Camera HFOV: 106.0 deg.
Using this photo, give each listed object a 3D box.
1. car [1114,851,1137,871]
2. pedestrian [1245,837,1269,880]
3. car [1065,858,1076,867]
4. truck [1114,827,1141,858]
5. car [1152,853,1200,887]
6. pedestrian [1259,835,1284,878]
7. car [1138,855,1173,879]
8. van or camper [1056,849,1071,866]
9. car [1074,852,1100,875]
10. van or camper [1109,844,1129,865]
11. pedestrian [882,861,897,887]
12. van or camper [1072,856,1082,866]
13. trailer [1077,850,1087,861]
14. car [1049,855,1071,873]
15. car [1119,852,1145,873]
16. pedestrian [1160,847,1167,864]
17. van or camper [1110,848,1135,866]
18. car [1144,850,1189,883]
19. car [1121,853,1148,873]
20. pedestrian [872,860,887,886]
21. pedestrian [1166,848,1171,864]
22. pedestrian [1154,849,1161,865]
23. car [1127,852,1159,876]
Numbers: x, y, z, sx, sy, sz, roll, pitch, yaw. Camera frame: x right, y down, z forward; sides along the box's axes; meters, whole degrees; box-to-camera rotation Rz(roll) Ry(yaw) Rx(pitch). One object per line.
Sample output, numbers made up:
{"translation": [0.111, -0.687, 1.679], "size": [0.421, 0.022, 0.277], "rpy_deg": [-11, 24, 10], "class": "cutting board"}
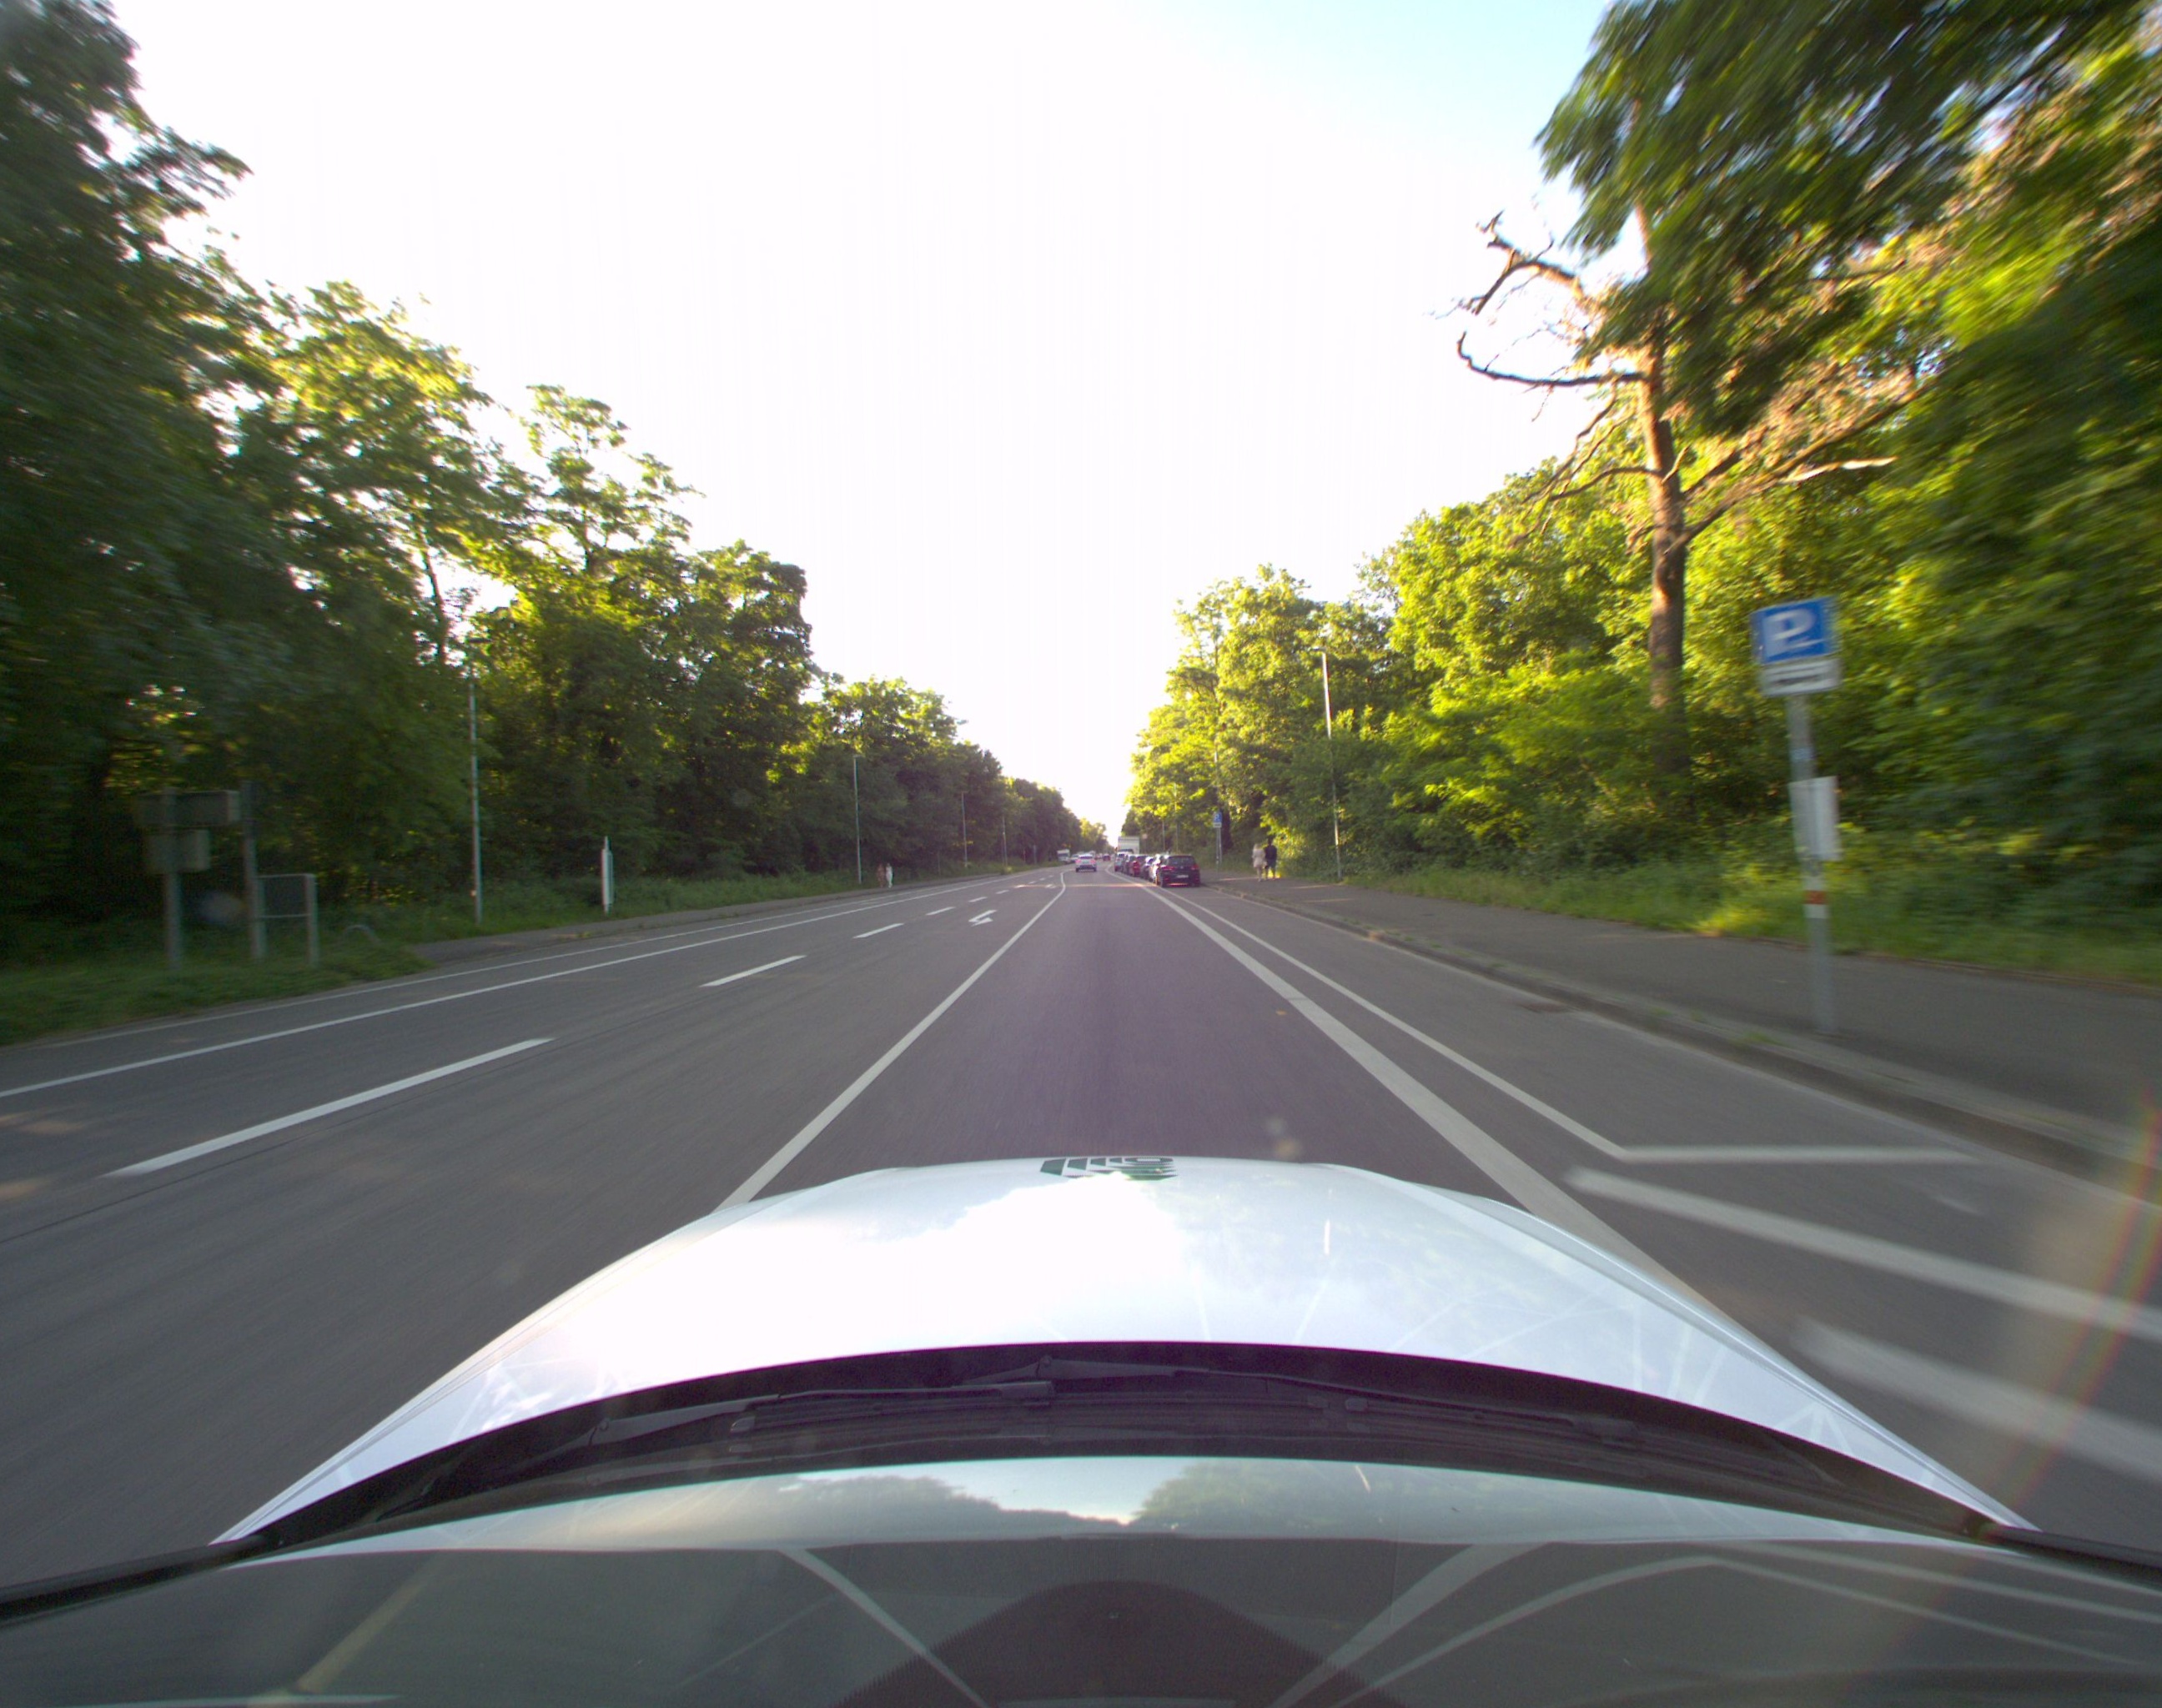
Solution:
{"translation": [3.781, 0.565, 69.145], "size": [1.791, 1.595, 4.032], "rpy_deg": [-3, 0, 3], "class": "car"}
{"translation": [7.625, 0.201, 35.342], "size": [0.673, 1.799, 0.789], "rpy_deg": [-5, 0, -3], "class": "pedestrian"}
{"translation": [-1.804, 1.433, 144.000], "size": [1.821, 1.476, 4.680], "rpy_deg": [-4, 0, 0], "class": "car"}
{"translation": [5.489, -1.325, 97.129], "size": [2.822, 3.497, 8.582], "rpy_deg": [-3, 0, 2], "class": "truck"}
{"translation": [4.350, 0.700, 37.740], "size": [1.652, 1.452, 4.018], "rpy_deg": [0, 0, -1], "class": "car"}
{"translation": [8.299, 0.120, 35.457], "size": [0.673, 1.799, 0.952], "rpy_deg": [-5, 0, -3], "class": "pedestrian"}
{"translation": [4.357, 0.727, 47.816], "size": [1.623, 1.319, 3.839], "rpy_deg": [-2, 0, -1], "class": "car"}
{"translation": [-3.190, 0.595, 150.866], "size": [2.307, 2.969, 7.111], "rpy_deg": [-5, 0, 0], "class": "van or camper"}
{"translation": [0.538, 0.793, 72.114], "size": [2.020, 1.840, 4.032], "rpy_deg": [-3, 0, 3], "class": "car"}
{"translation": [3.838, 0.044, 82.026], "size": [1.890, 2.013, 4.590], "rpy_deg": [-3, 0, 3], "class": "van or camper"}
{"translation": [-12.610, 1.312, 53.627], "size": [0.671, 1.653, 0.791], "rpy_deg": [-3, 0, 7], "class": "pedestrian"}
{"translation": [-0.958, 1.557, 184.647], "size": [1.828, 1.911, 4.858], "rpy_deg": [-4, 0, 2], "class": "van or camper"}
{"translation": [0.265, 0.453, 207.890], "size": [1.985, 2.597, 4.419], "rpy_deg": [-5, 0, 3], "class": "trailer"}
{"translation": [-1.873, 0.884, 73.509], "size": [1.801, 1.519, 4.504], "rpy_deg": [-1, 0, 0], "class": "car"}
{"translation": [3.997, 0.652, 64.153], "size": [1.801, 1.519, 4.504], "rpy_deg": [-1, 0, 0], "class": "car"}
{"translation": [8.577, 0.126, 84.554], "size": [0.615, 1.764, 0.907], "rpy_deg": [-3, 0, 2], "class": "pedestrian"}
{"translation": [6.891, 0.485, 134.973], "size": [2.422, 2.799, 6.585], "rpy_deg": [-3, 0, 16], "class": "van or camper"}
{"translation": [4.380, 0.617, 42.285], "size": [1.732, 1.524, 4.358], "rpy_deg": [-3, 0, -1], "class": "car"}
{"translation": [3.879, 0.633, 59.222], "size": [1.590, 1.401, 3.796], "rpy_deg": [-1, 0, -2], "class": "car"}
{"translation": [-13.291, 1.224, 53.697], "size": [0.671, 1.653, 0.791], "rpy_deg": [-3, 0, 7], "class": "pedestrian"}
{"translation": [8.627, 0.175, 80.170], "size": [0.392, 1.588, 0.482], "rpy_deg": [-3, 0, 2], "class": "pedestrian"}
{"translation": [7.707, 0.278, 82.343], "size": [0.561, 1.588, 0.482], "rpy_deg": [-3, 0, 2], "class": "pedestrian"}
{"translation": [4.012, 0.638, 53.519], "size": [1.613, 1.469, 3.720], "rpy_deg": [-1, 0, -3], "class": "car"}
